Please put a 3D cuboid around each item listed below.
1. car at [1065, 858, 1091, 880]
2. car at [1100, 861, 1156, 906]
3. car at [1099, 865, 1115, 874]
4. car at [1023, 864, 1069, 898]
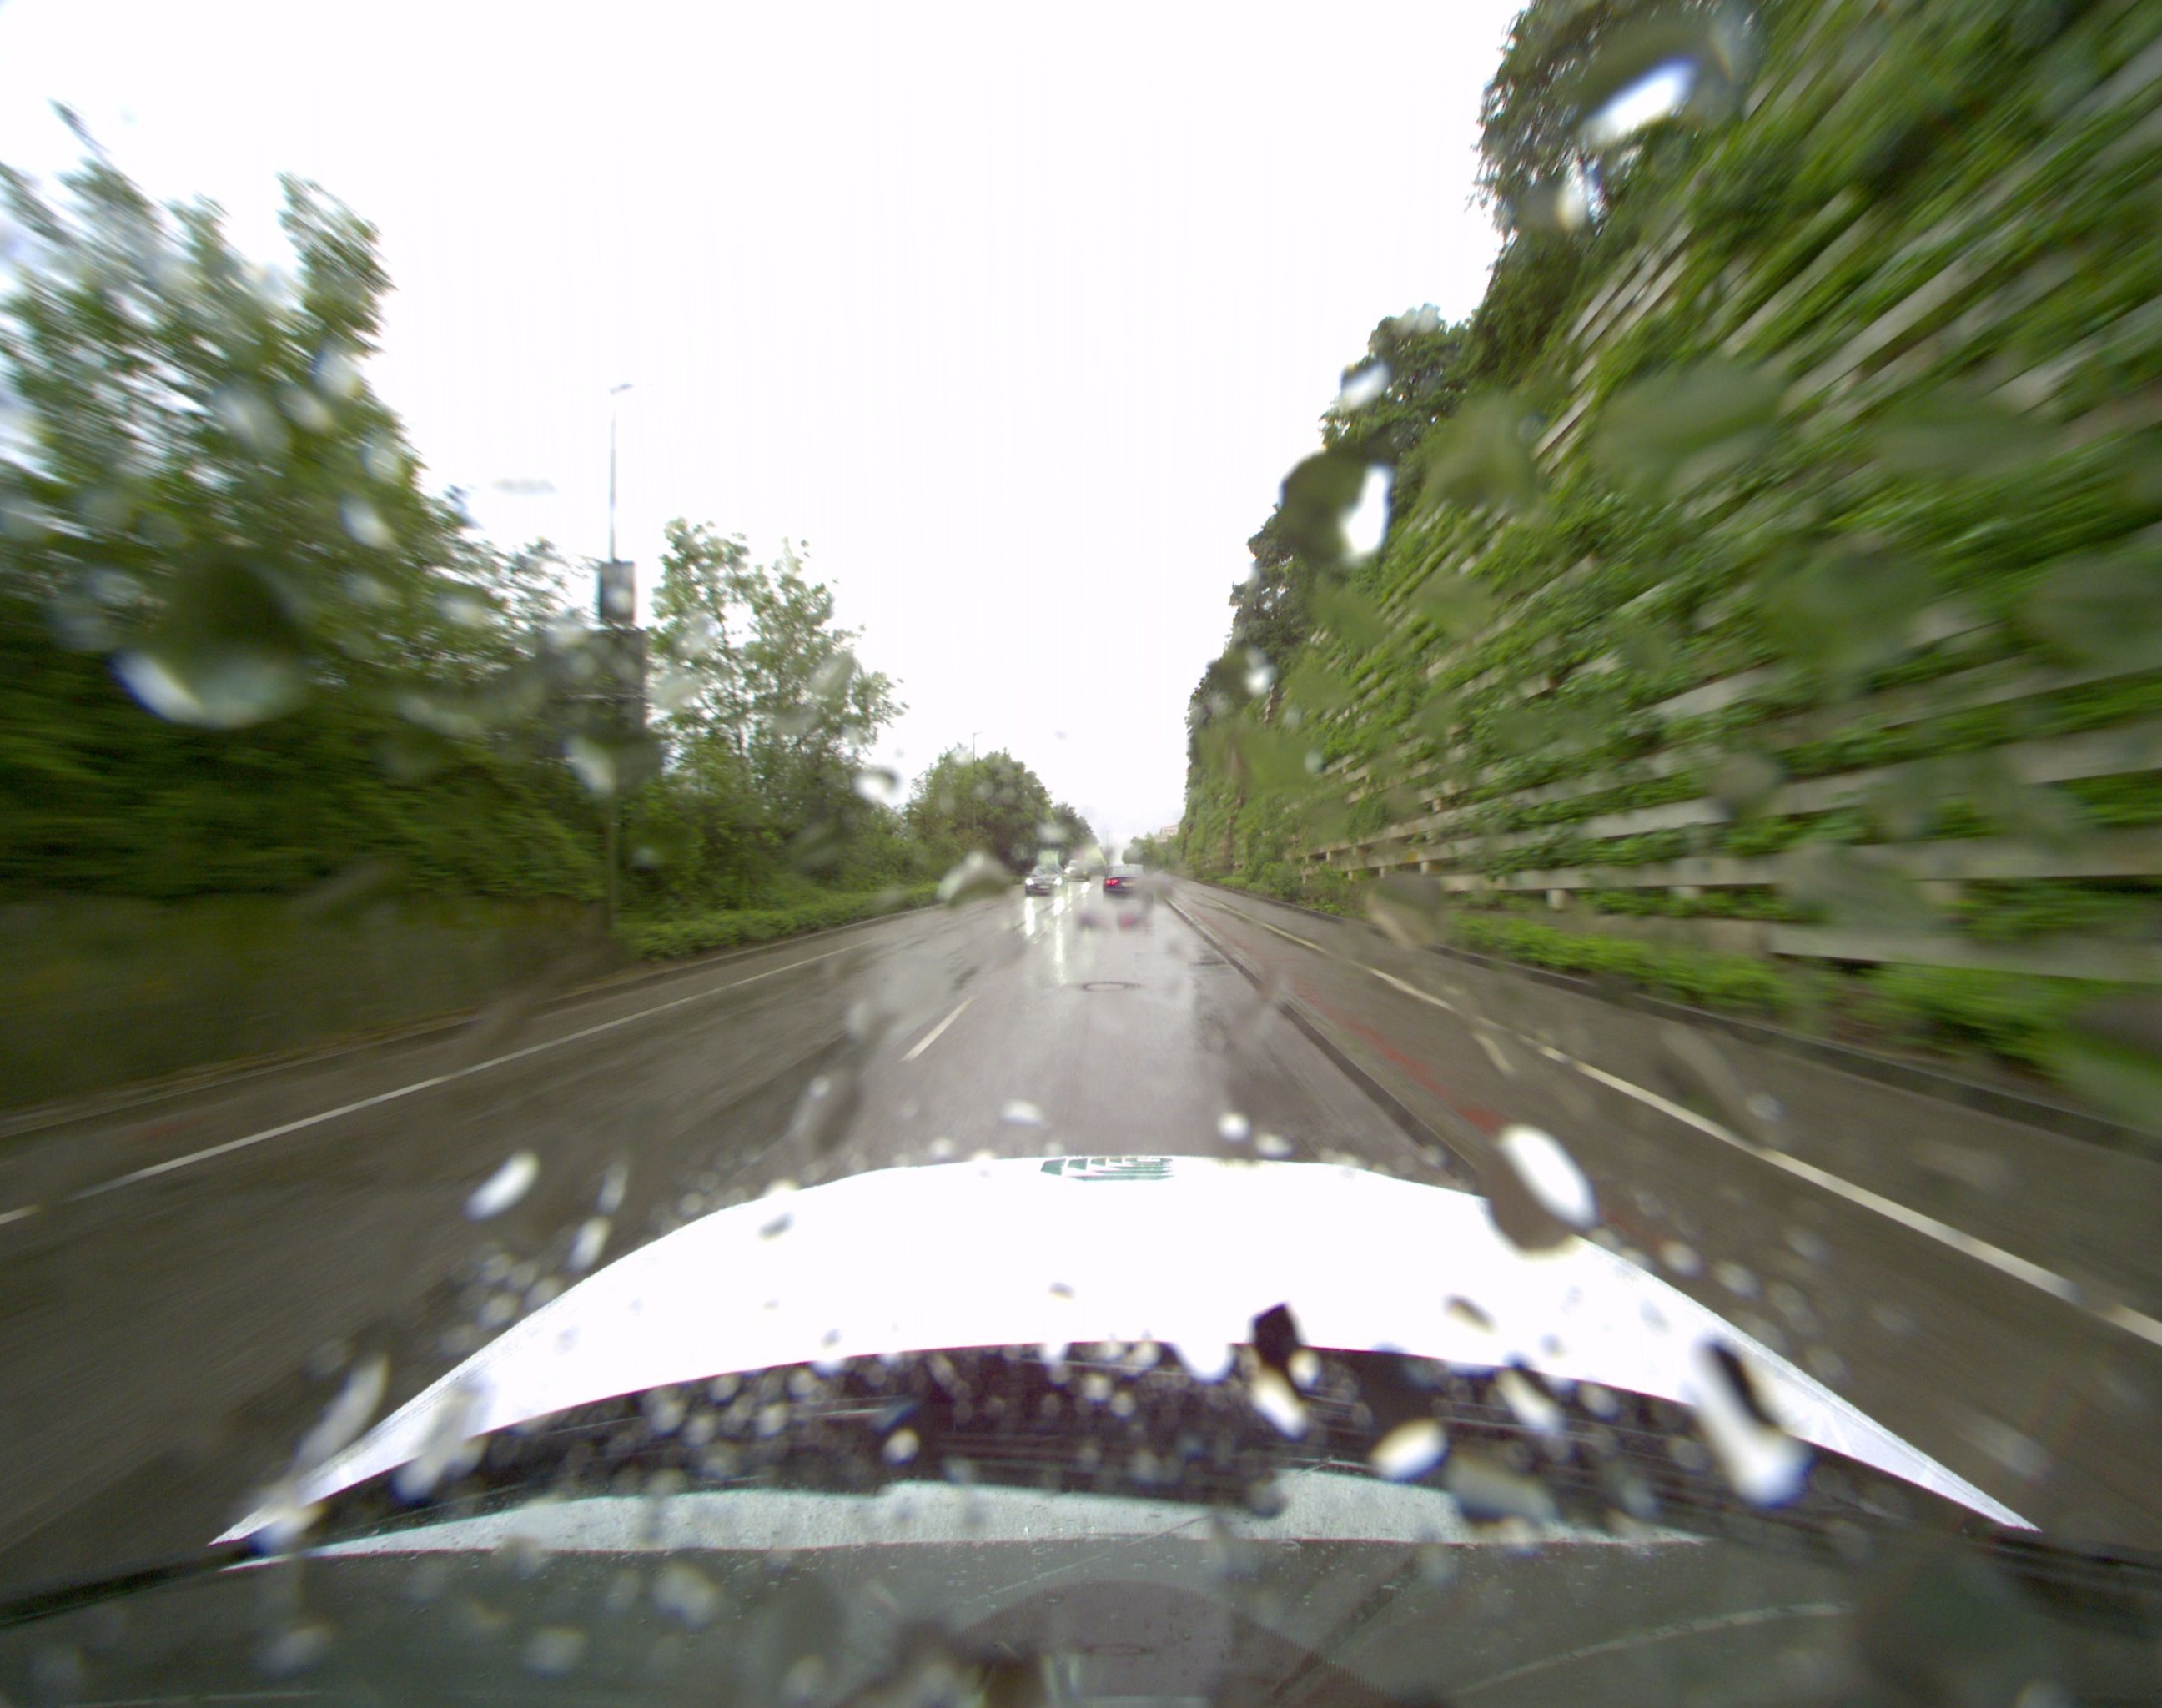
[{"bbox_3d":[-0.232,1.150,63.666,1.815,1.615,4.096,-1,0,3],"label":"car"},{"bbox_3d":[1.733,0.996,29.572,1.884,1.492,4.212,0,0,4],"label":"car"},{"bbox_3d":[3.978,2.372,125.092,1.983,1.364,4.259,-1,-1,7],"label":"car"},{"bbox_3d":[-1.596,1.228,38.543,1.858,1.449,4.378,-2,0,1],"label":"car"}]
